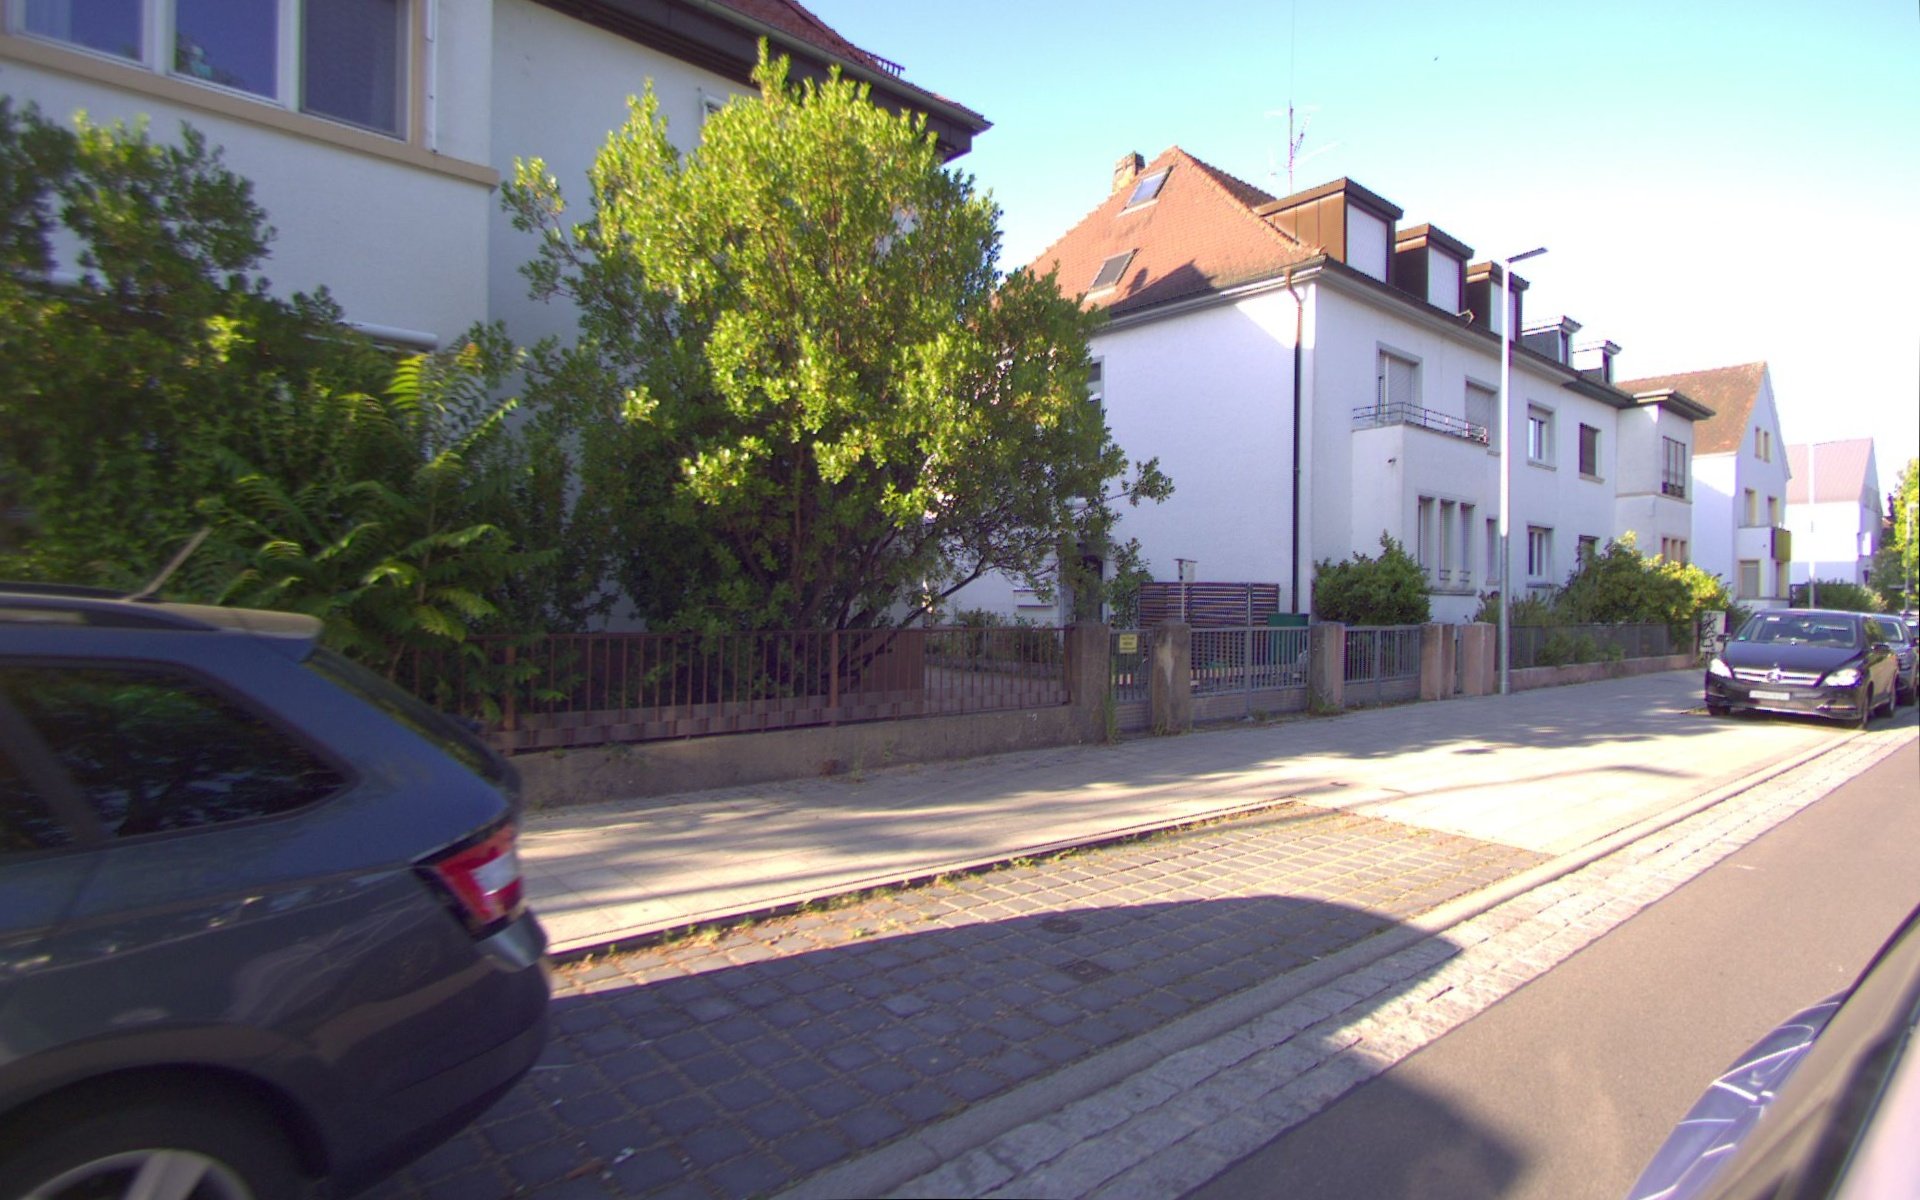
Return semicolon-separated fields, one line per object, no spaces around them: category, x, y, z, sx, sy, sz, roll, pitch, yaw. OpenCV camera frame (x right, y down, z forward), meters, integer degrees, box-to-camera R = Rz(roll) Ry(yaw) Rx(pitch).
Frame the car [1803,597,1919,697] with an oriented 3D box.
car;17.023;0.788;18.726;4.141;1.593;1.720;0;3;-44

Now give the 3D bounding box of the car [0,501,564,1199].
car;-2.932;0.648;1.564;4.014;1.613;1.666;0;-1;-41

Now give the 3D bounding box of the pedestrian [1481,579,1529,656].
pedestrian;11.505;0.366;21.371;0.617;1.598;0.598;0;-1;-14

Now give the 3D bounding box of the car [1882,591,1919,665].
car;25.500;0.734;26.263;4.394;1.793;1.798;1;2;-41

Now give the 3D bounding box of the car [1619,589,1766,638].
car;27.460;0.485;38.051;1.822;1.748;4.220;0;-1;-43

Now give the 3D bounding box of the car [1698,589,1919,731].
car;12.720;0.756;15.054;4.338;1.705;1.837;0;4;-41

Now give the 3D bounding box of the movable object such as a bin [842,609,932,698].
movable object such as a bin;-0.976;0.680;13.420;0.775;1.114;0.987;0;-1;-37
